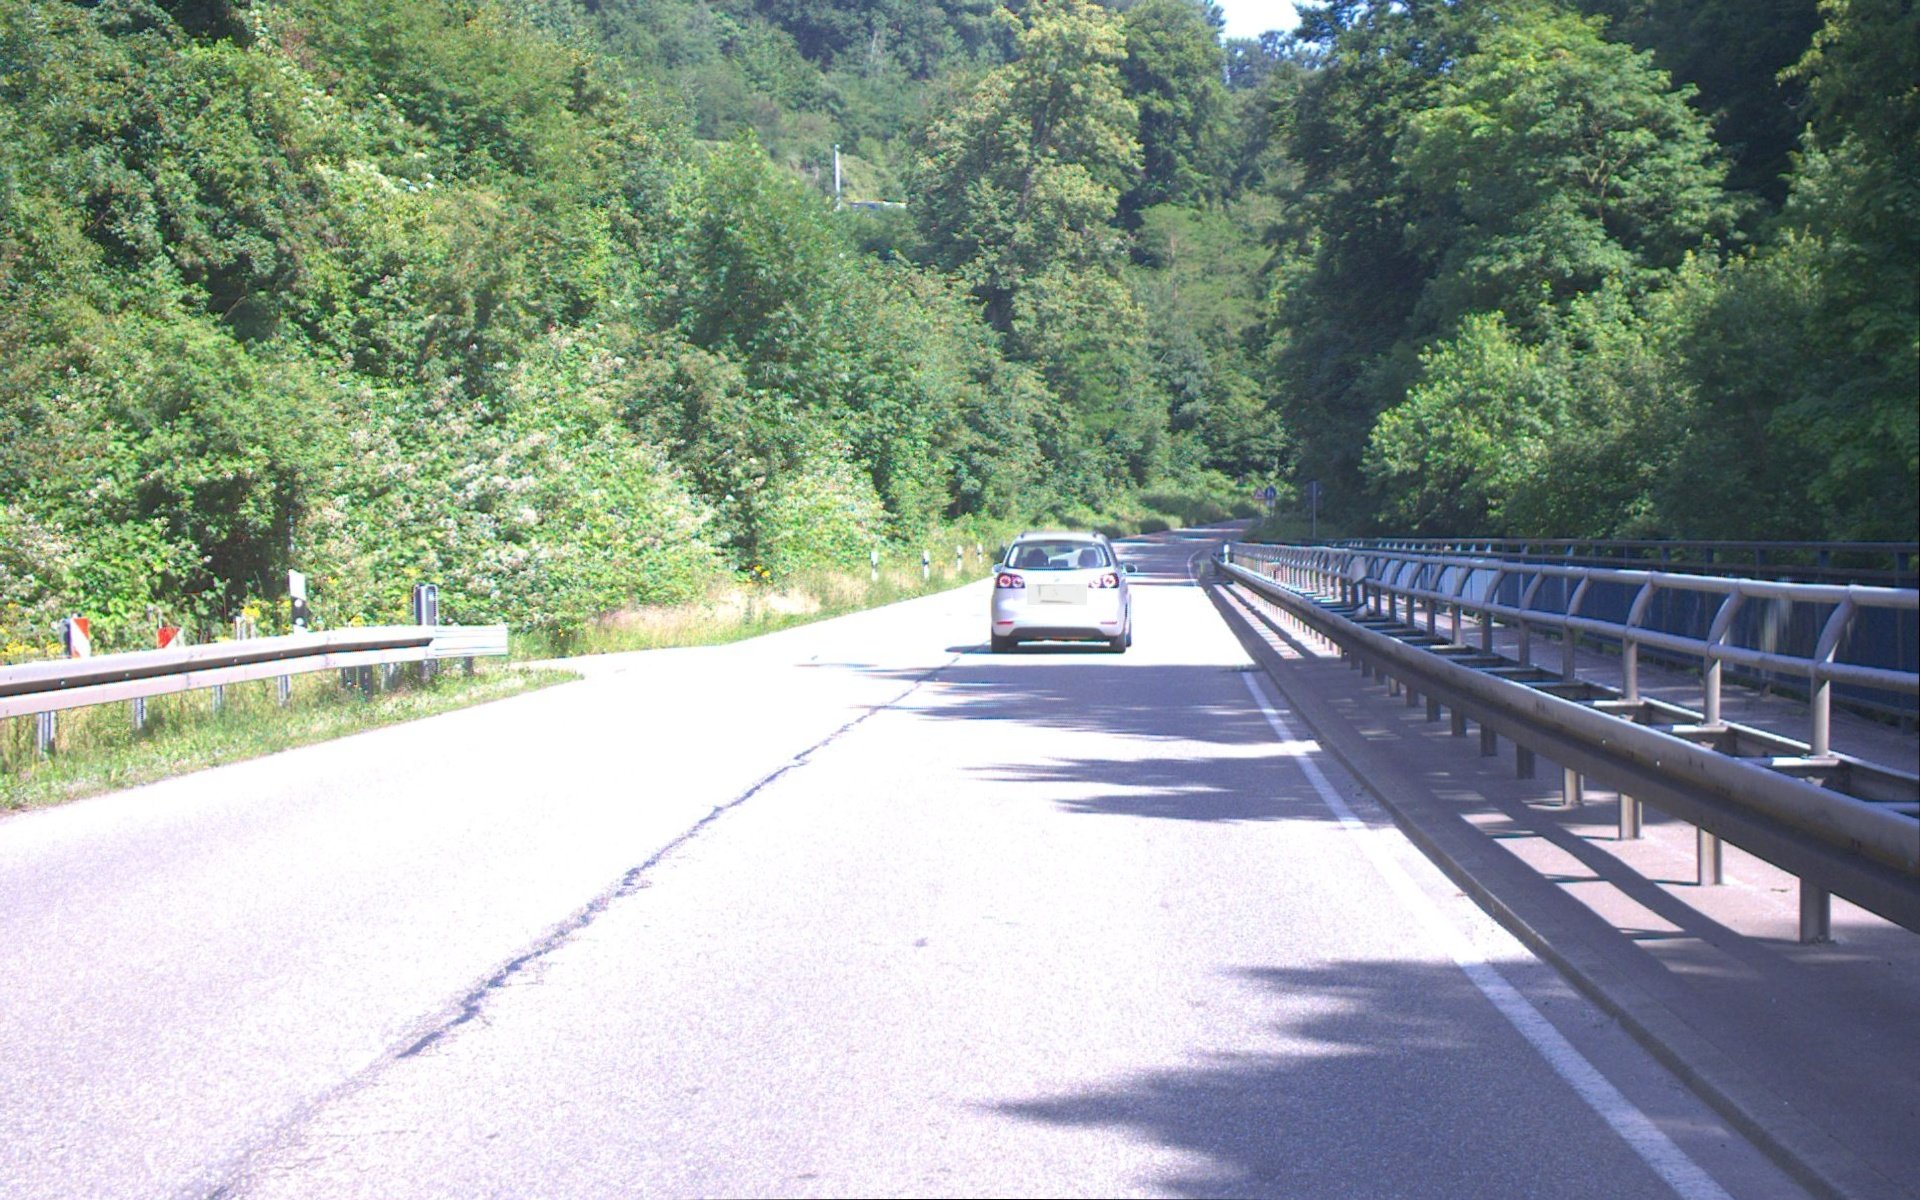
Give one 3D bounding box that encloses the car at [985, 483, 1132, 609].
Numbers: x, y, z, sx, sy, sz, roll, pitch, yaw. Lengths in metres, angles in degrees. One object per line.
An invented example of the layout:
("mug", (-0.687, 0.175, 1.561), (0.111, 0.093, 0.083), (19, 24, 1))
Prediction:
("car", (1.331, -0.751, 45.168), (1.751, 1.514, 4.159), (1, 3, 4))
